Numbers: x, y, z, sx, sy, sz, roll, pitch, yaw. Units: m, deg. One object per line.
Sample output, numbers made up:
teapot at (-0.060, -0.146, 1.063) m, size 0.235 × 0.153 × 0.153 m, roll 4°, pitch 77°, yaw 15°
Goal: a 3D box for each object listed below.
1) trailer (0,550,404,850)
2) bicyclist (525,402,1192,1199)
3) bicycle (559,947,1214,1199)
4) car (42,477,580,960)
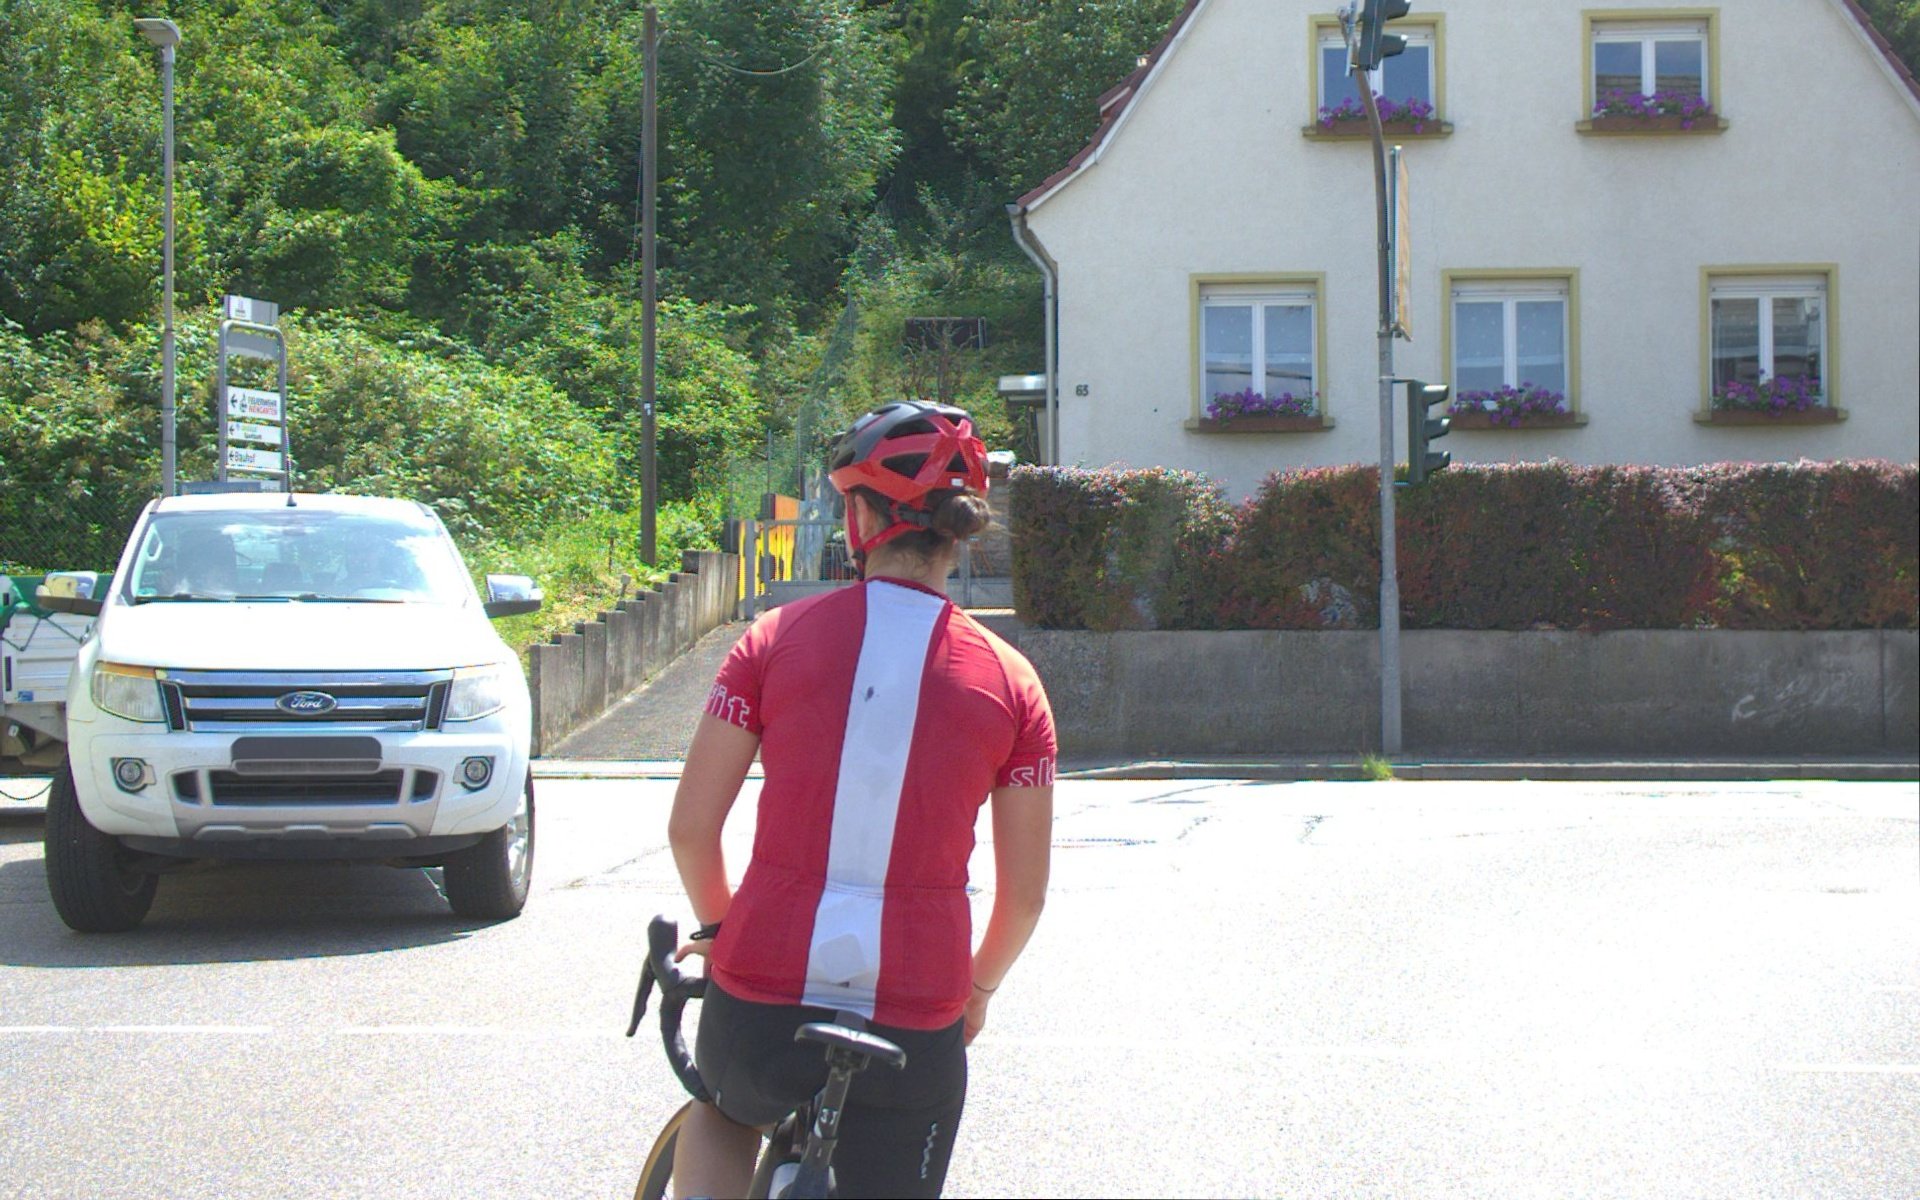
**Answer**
trailer at (-5.276, 0.522, 20.317) m, size 1.973 × 1.534 × 4.444 m, roll -2°, pitch 1°, yaw -38°
bicyclist at (-0.176, 0.595, 4.576) m, size 0.760 × 1.659 × 0.869 m, roll 1°, pitch 1°, yaw -9°
bicycle at (-0.174, 1.000, 4.500) m, size 0.629 × 0.902 × 1.657 m, roll 1°, pitch 1°, yaw -9°
car at (-3.092, 0.411, 15.650) m, size 1.972 × 1.769 × 5.316 m, roll -1°, pitch 1°, yaw -14°
